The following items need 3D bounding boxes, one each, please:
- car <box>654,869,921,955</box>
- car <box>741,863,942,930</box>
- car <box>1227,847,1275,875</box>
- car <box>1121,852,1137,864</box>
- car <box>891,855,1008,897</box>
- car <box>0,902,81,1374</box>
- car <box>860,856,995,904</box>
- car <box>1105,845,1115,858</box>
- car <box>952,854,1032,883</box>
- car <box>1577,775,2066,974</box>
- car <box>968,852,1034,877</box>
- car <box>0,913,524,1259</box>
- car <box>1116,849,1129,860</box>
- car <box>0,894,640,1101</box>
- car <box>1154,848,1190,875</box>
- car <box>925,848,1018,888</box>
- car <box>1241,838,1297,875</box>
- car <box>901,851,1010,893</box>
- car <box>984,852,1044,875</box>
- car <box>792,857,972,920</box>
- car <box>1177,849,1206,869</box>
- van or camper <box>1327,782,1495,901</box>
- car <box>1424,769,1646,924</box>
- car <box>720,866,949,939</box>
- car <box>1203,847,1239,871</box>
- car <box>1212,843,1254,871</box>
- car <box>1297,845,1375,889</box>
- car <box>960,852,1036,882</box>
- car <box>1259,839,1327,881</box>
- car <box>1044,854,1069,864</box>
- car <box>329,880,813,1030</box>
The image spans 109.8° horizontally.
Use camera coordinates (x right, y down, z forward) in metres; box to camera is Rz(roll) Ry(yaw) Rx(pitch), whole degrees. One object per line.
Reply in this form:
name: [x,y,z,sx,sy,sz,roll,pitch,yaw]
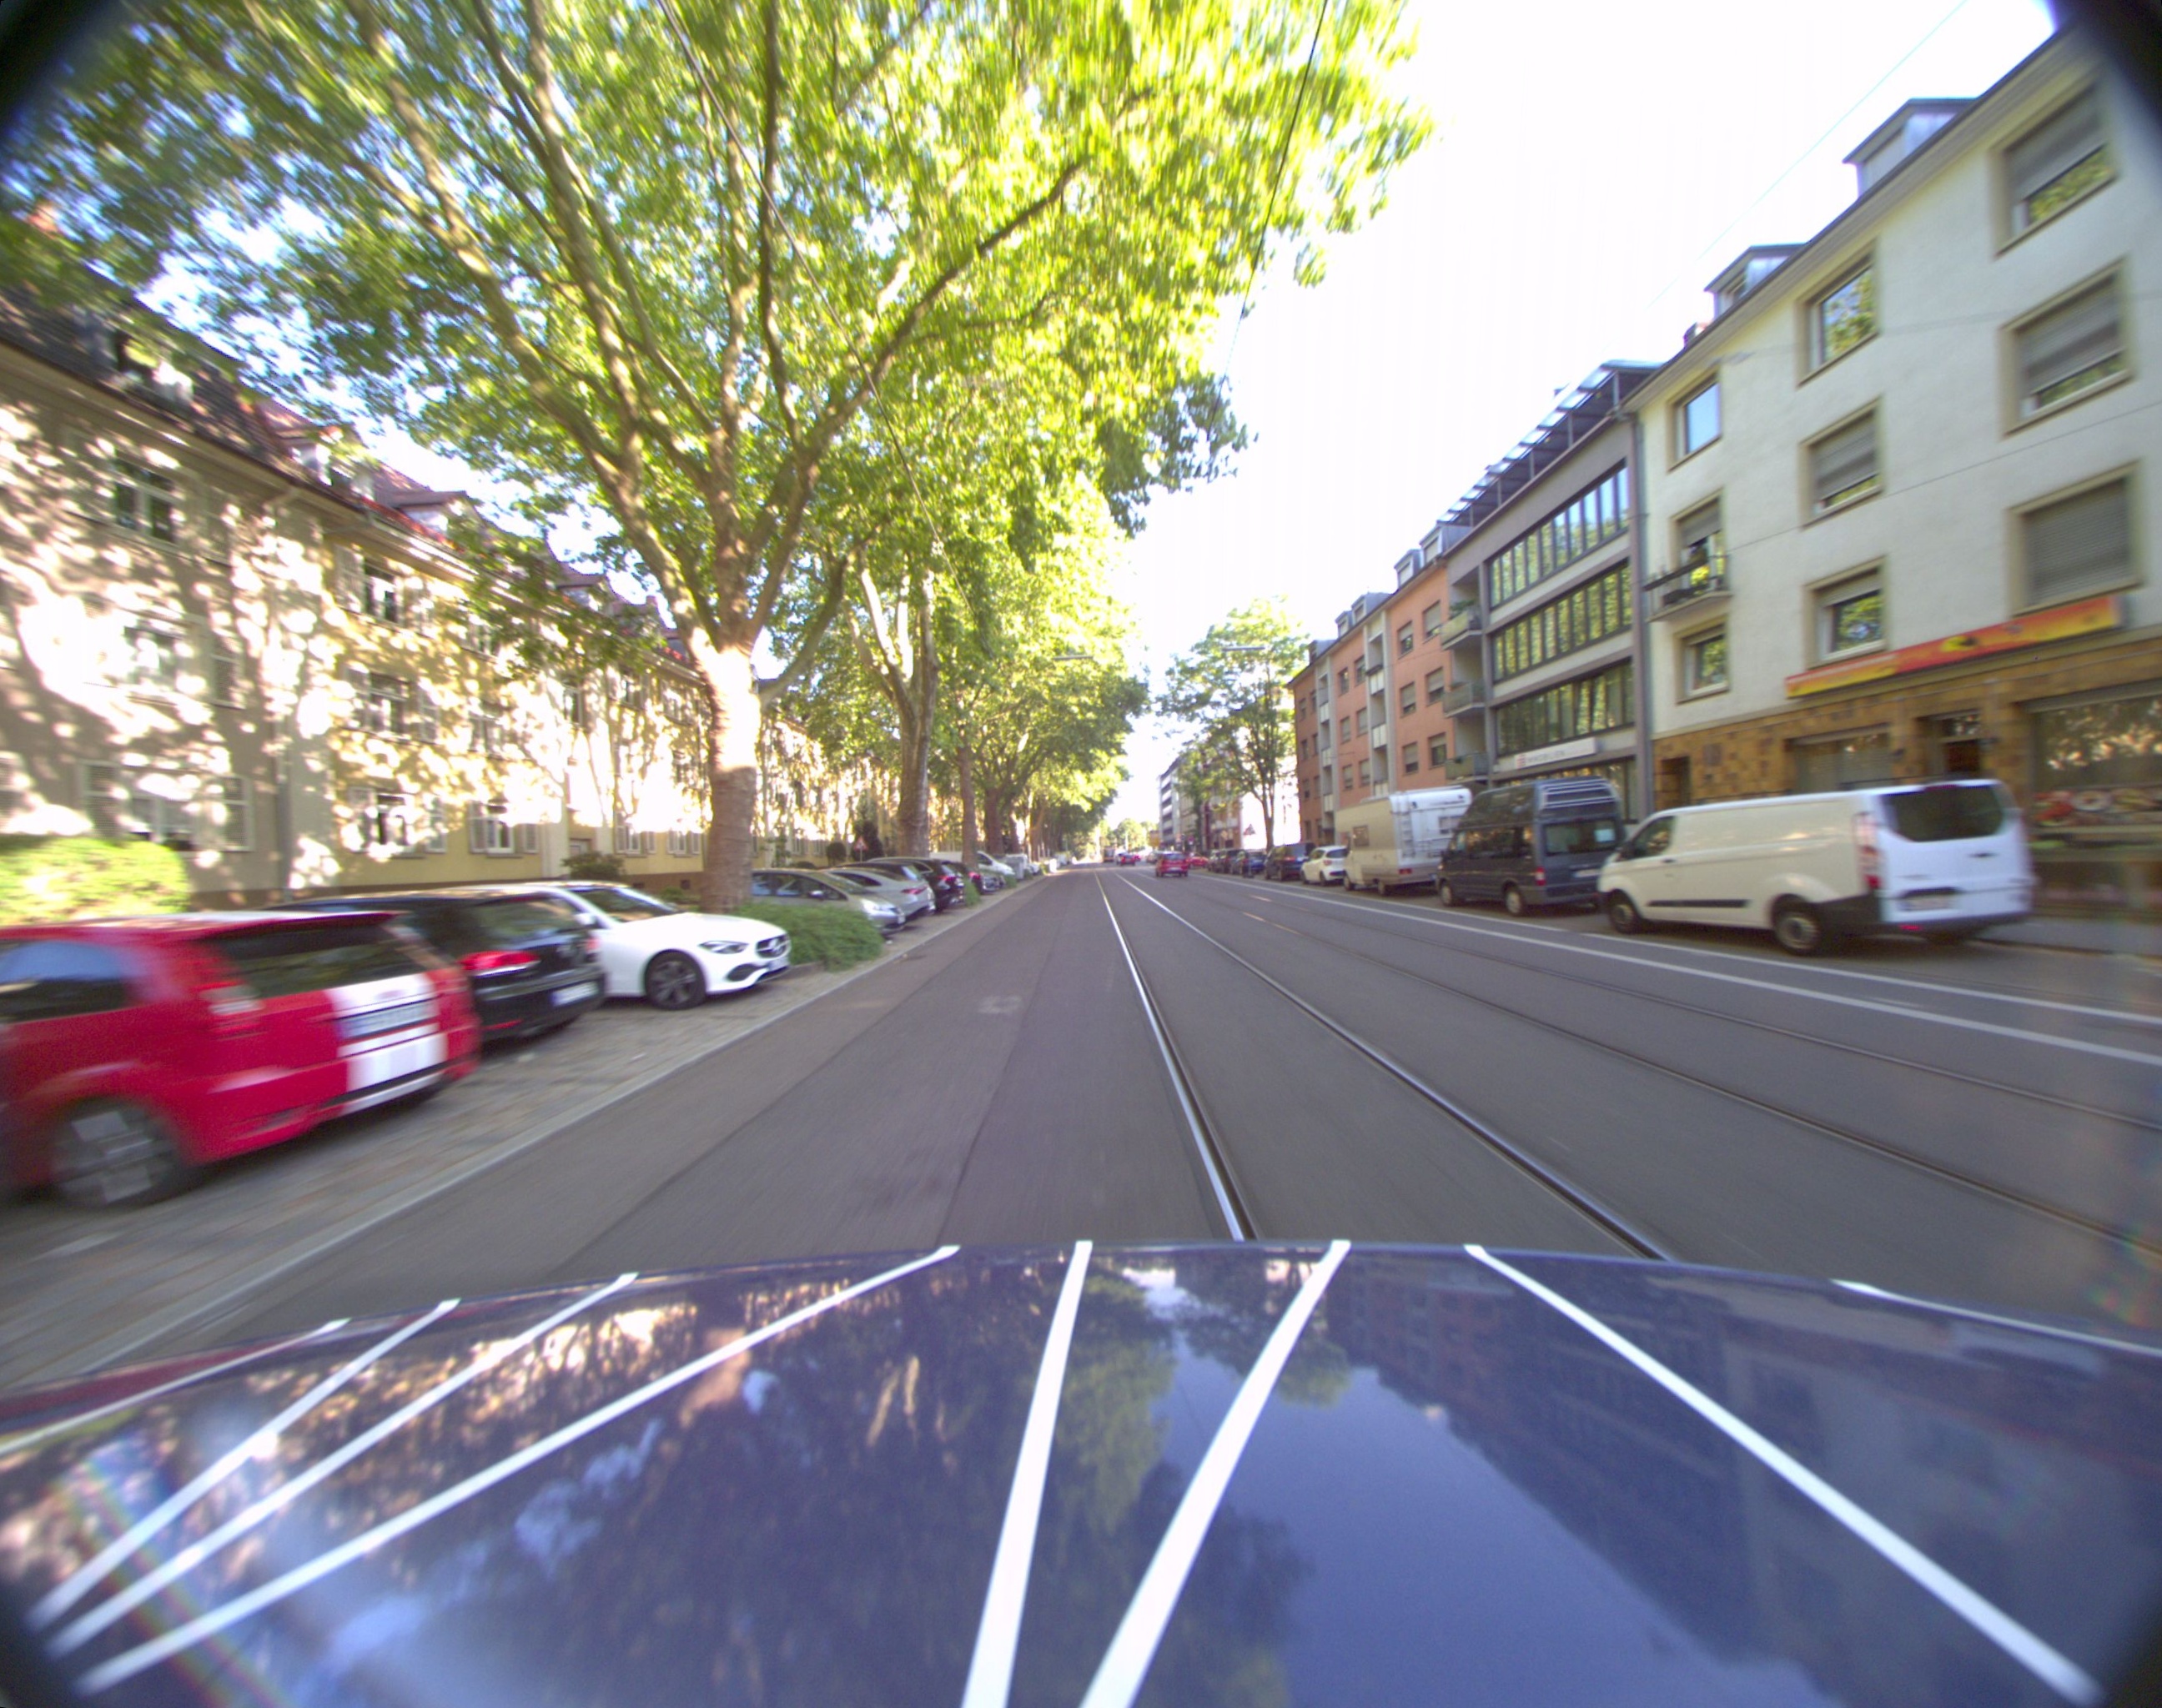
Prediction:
car: [-5.763,1.121,15.302,4.611,1.485,1.893,-2,0,3]
car: [-6.184,1.082,19.955,4.611,1.557,1.893,-2,0,3]
car: [10.058,0.401,45.300,1.791,1.462,4.434,-3,0,0]
car: [6.039,0.459,94.965,1.769,1.448,3.586,-2,0,1]
car: [-5.571,0.941,32.604,4.611,1.631,1.893,-2,0,3]
car: [-6.176,1.046,1.917,4.810,1.621,1.893,-2,0,1]
car: [-5.695,0.941,28.573,4.611,1.631,1.893,-2,0,3]
car: [6.086,-0.540,159.355,1.998,2.756,4.742,-2,0,1]
car: [-5.459,0.882,46.854,4.611,1.631,1.893,-2,0,3]
car: [9.560,0.206,10.622,1.928,2.034,4.940,-3,0,0]
car: [-5.916,0.771,56.852,4.611,1.705,1.893,-2,0,3]
car: [-6.146,1.185,4.405,4.368,1.436,1.893,-2,0,-2]
car: [6.058,0.041,110.762,1.769,1.448,3.586,-2,0,1]
car: [-6.738,1.168,6.773,4.508,1.436,1.893,-2,0,3]
car: [5.422,0.422,45.618,1.769,1.448,3.586,-2,0,1]
car: [-5.902,0.761,41.336,4.636,2.001,1.893,-2,0,3]
car: [9.946,0.128,40.533,1.791,1.744,4.434,-3,0,0]
car: [-5.720,0.812,35.112,4.611,1.781,1.893,-2,0,3]
car: [-5.380,0.739,61.483,4.611,1.705,1.893,-2,0,3]
car: [-5.644,0.958,21.916,4.611,1.631,1.893,-2,0,3]
car: [9.515,0.373,65.783,1.791,1.586,4.097,-3,0,0]
van or camper: [9.796,-0.355,23.316,2.423,2.960,5.991,-6,0,2]
car: [9.569,-0.155,16.570,1.927,2.730,4.546,-6,0,1]
car: [-5.575,1.084,17.573,4.611,1.485,1.893,-2,0,3]
car: [10.217,0.336,55.836,1.791,1.586,4.097,-3,0,0]
car: [9.967,0.166,50.200,1.791,1.660,4.434,-3,0,0]
car: [9.881,0.467,29.695,1.791,1.506,3.473,-3,0,0]
car: [-5.351,0.817,49.192,4.611,1.781,1.893,-2,0,3]
car: [9.756,0.259,35.252,1.791,1.744,4.434,-3,0,0]
car: [-3.630,0.717,113.728,3.582,1.448,1.771,-2,0,3]
car: [-5.916,1.143,9.198,4.611,1.485,1.893,-2,0,3]
